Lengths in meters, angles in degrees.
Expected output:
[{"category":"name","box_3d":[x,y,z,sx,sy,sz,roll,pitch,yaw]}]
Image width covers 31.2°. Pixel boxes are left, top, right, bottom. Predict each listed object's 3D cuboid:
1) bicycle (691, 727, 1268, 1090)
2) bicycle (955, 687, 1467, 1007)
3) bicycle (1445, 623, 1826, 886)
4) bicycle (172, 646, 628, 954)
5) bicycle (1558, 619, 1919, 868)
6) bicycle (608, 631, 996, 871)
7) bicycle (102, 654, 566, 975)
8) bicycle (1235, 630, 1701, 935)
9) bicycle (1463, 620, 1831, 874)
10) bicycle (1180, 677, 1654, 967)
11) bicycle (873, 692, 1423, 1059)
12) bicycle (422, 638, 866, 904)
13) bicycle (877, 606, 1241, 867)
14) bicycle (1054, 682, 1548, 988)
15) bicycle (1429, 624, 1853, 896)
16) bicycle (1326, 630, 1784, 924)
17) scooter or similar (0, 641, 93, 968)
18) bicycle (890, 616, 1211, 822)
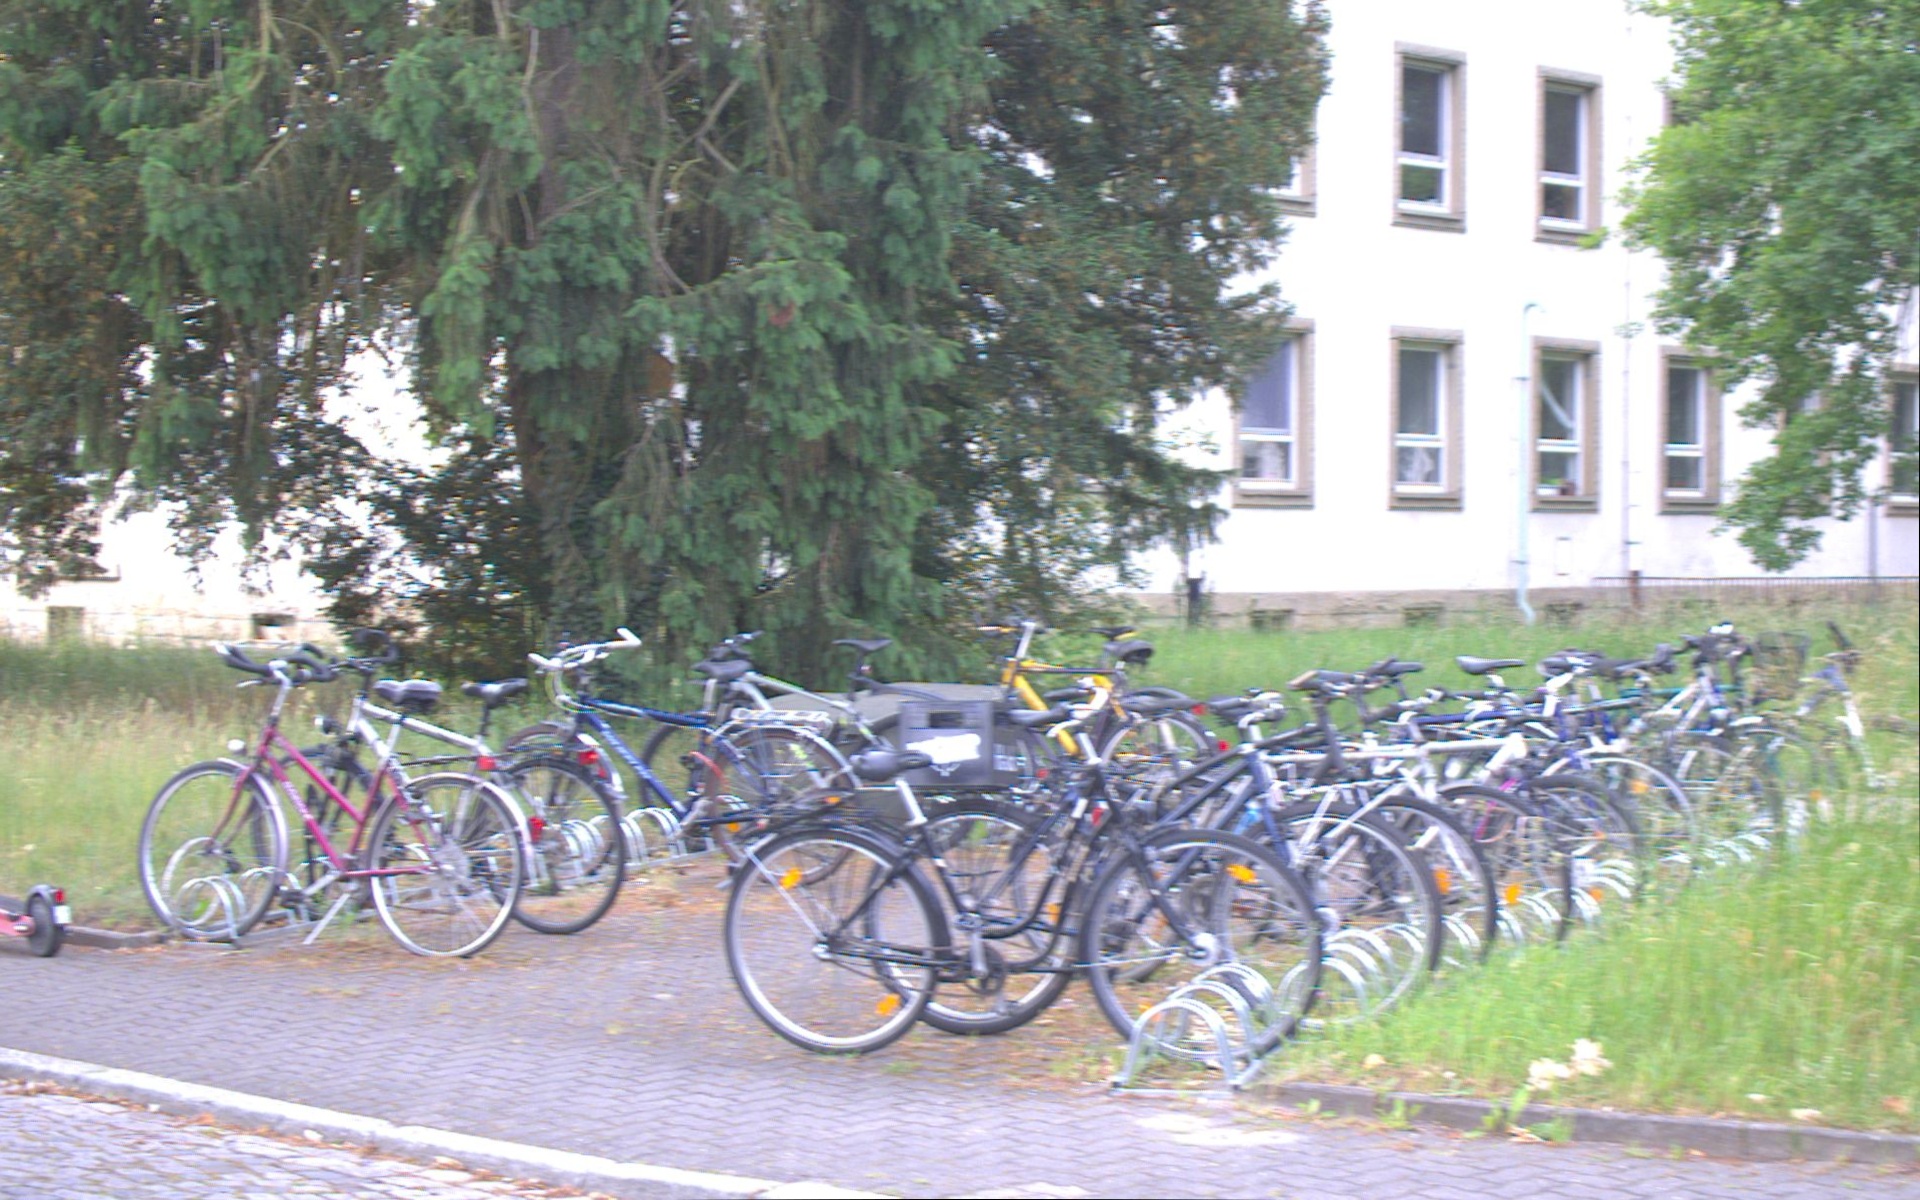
[{"category":"bicycle","box_3d":[0.061,0.888,10.118,1.618,1.004,0.477,-1,0,14]},{"category":"bicycle","box_3d":[0.830,0.805,11.582,1.665,1.004,0.477,-1,0,29]},{"category":"bicycle","box_3d":[3.050,0.676,15.598,1.650,1.108,0.441,1,1,35]},{"category":"bicycle","box_3d":[-2.218,0.759,13.547,1.802,1.110,0.551,1,1,27]},{"category":"bicycle","box_3d":[3.785,0.663,16.425,1.762,1.108,0.477,1,1,29]},{"category":"bicycle","box_3d":[-0.748,0.695,16.244,1.750,1.061,0.551,1,1,20]},{"category":"bicycle","box_3d":[-2.394,0.786,13.083,1.766,1.110,0.551,1,1,27]},{"category":"bicycle","box_3d":[1.996,0.695,13.605,1.762,1.108,0.477,1,1,29]},{"category":"bicycle","box_3d":[3.209,0.666,16.134,1.650,1.108,0.441,1,1,35]},{"category":"bicycle","box_3d":[1.673,0.795,12.695,1.665,1.004,0.477,-1,0,29]},{"category":"bicycle","box_3d":[0.580,0.832,10.598,1.618,1.070,0.477,-1,0,14]},{"category":"bicycle","box_3d":[-1.368,0.715,14.864,1.821,1.061,0.617,1,1,20]},{"category":"bicycle","box_3d":[0.462,0.627,16.562,1.752,1.167,0.550,1,1,37]},{"category":"bicycle","box_3d":[1.186,0.800,12.091,1.665,1.004,0.477,-1,0,29]},{"category":"bicycle","box_3d":[2.982,0.678,15.128,1.762,1.108,0.477,1,1,29]},{"category":"bicycle","box_3d":[2.404,0.694,13.951,1.761,1.108,0.477,1,1,23]},{"category":"scooter or similar","box_3d":[-3.856,0.766,13.367,1.136,1.205,0.357,1,1,41]},{"category":"bicycle","box_3d":[0.479,0.624,18.596,1.680,1.038,0.550,1,1,31]}]
